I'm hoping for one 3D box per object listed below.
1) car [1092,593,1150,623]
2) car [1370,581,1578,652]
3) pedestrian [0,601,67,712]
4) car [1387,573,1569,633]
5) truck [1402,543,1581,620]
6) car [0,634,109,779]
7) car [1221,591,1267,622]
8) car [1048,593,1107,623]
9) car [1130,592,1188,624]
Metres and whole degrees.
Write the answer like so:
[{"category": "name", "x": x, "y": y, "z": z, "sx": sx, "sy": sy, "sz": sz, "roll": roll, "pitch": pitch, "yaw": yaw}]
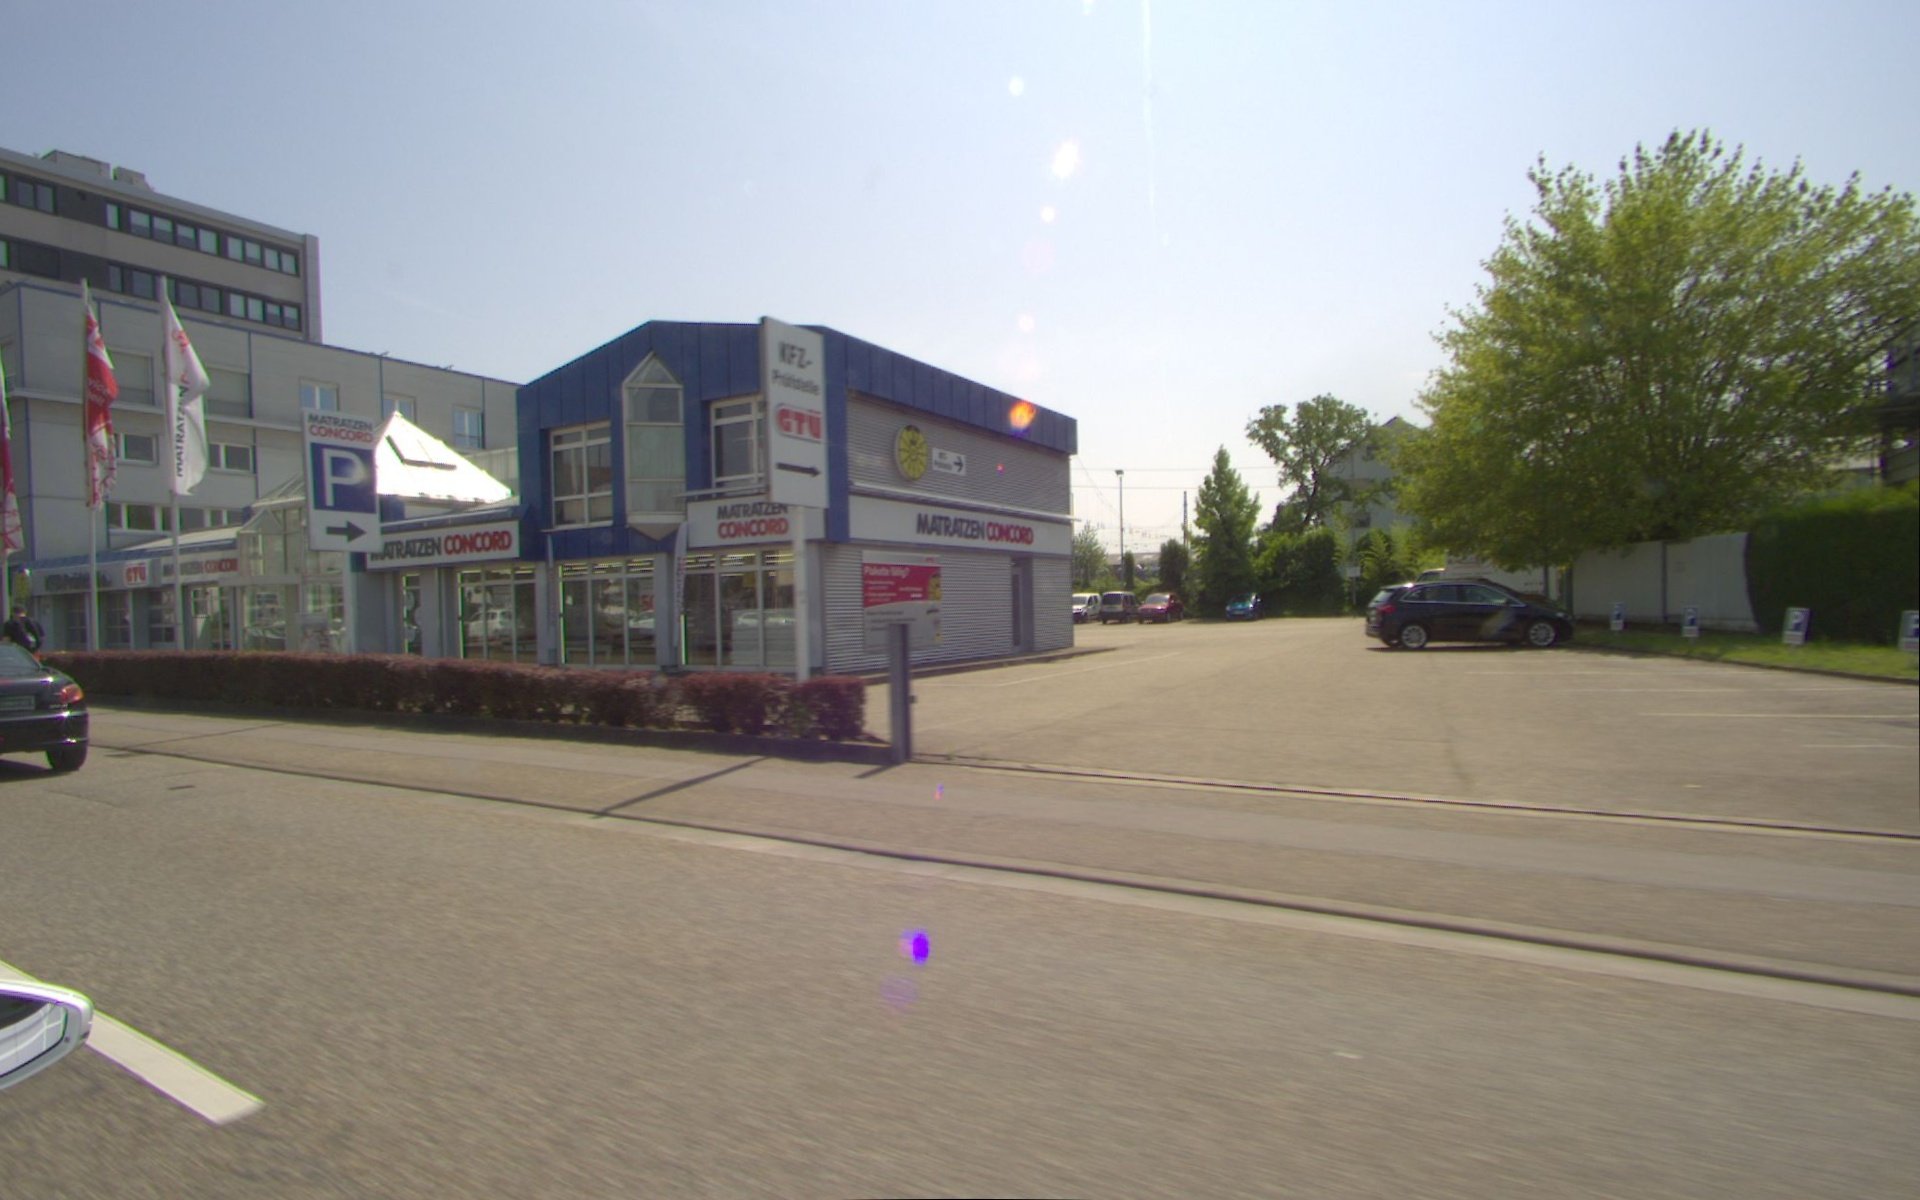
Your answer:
[{"category": "car", "x": 9.495, "y": 0.450, "z": 58.871, "sx": 1.971, "sy": 1.629, "sz": 3.979, "roll": -1, "pitch": 0, "yaw": 32}, {"category": "car", "x": 11.573, "y": 0.376, "z": 22.783, "sx": 3.925, "sy": 1.491, "sz": 1.515, "roll": -1, "pitch": 1, "yaw": 13}, {"category": "pedestrian", "x": -16.332, "y": 0.959, "z": 17.540, "sx": 0.923, "sy": 1.871, "sz": 0.783, "roll": -1, "pitch": 1, "yaw": 33}, {"category": "car", "x": 15.565, "y": 0.093, "z": 30.326, "sx": 4.453, "sy": 1.645, "sz": 1.999, "roll": -1, "pitch": 1, "yaw": 8}, {"category": "truck", "x": 22.435, "y": -0.717, "z": 42.527, "sx": 6.530, "sy": 3.048, "sz": 2.203, "roll": -1, "pitch": 1, "yaw": 29}, {"category": "car", "x": -10.745, "y": 1.067, "z": 10.595, "sx": 3.553, "sy": 1.382, "sz": 1.624, "roll": -1, "pitch": -1, "yaw": 31}, {"category": "car", "x": 15.692, "y": 0.337, "z": 55.279, "sx": 1.592, "sy": 1.543, "sz": 3.626, "roll": -3, "pitch": 0, "yaw": 30}, {"category": "car", "x": 7.086, "y": 0.472, "z": 60.089, "sx": 1.971, "sy": 1.706, "sz": 3.979, "roll": -1, "pitch": 0, "yaw": 32}, {"category": "car", "x": 11.361, "y": 0.433, "z": 57.091, "sx": 1.971, "sy": 1.706, "sz": 3.979, "roll": -1, "pitch": 0, "yaw": 32}]
